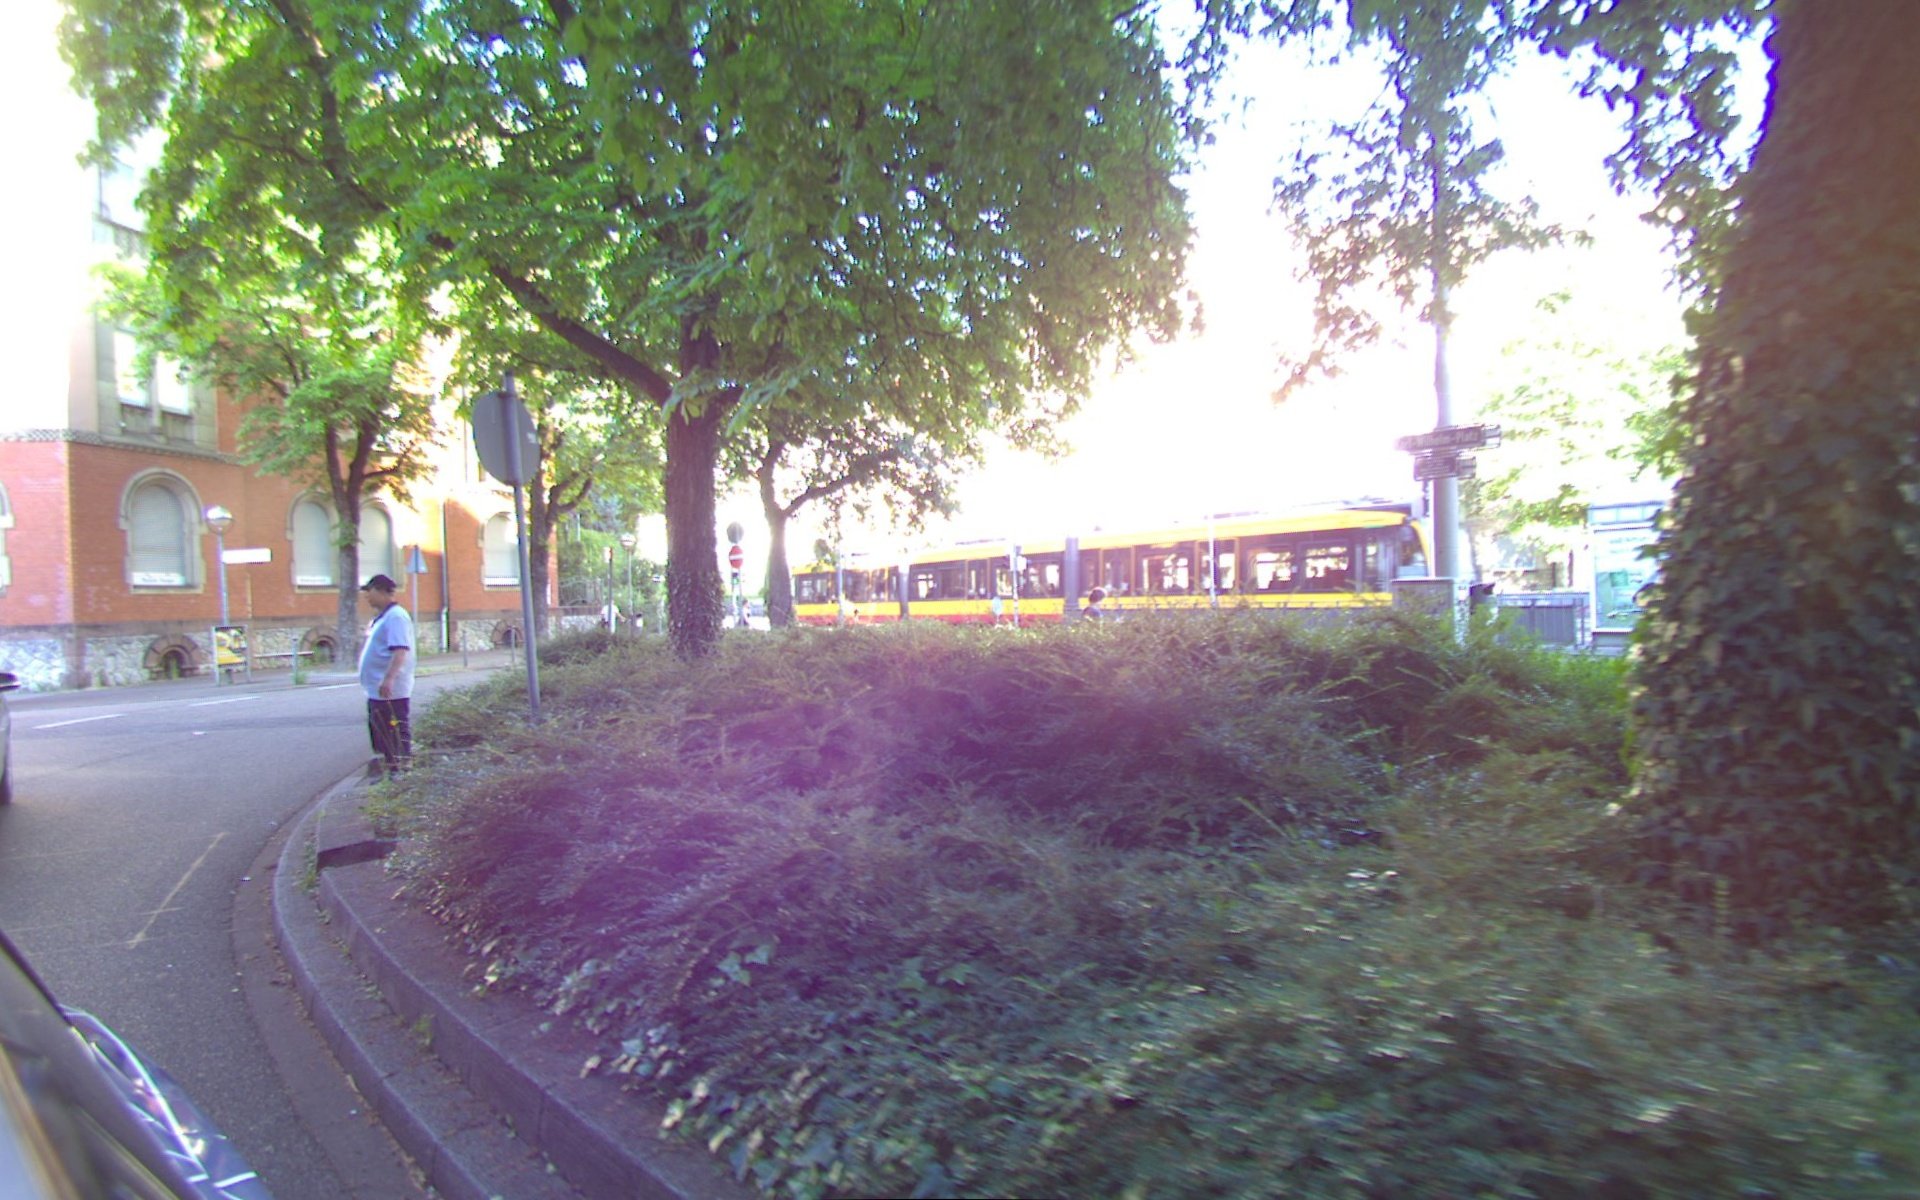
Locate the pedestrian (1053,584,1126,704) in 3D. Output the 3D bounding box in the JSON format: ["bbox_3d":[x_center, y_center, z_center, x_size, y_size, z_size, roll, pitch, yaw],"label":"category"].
[{"bbox_3d":[1.898,0.626,14.760,0.814,1.696,0.892,-2,0,22],"label":"pedestrian"}]

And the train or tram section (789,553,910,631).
[{"bbox_3d":[-5.600,-0.396,50.051,2.924,3.533,7.209,-3,1,-33],"label":"train or tram section"}]

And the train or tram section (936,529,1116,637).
[{"bbox_3d":[2.276,-0.573,37.973,2.885,3.626,7.209,-3,1,-33],"label":"train or tram section"}]

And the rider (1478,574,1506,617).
[{"bbox_3d":[21.450,-0.198,40.827,0.661,1.694,0.822,-2,2,-2],"label":"rider"}]

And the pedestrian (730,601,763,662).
[{"bbox_3d":[-5.898,0.861,27.952,0.841,1.617,0.603,-2,0,-12],"label":"pedestrian"}]

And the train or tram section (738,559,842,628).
[{"bbox_3d":[-9.520,-0.365,56.076,2.924,3.533,7.209,-3,1,-33],"label":"train or tram section"}]

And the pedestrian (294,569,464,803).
[{"bbox_3d":[-4.515,0.636,7.930,0.769,1.696,0.919,-2,0,-2],"label":"pedestrian"}]

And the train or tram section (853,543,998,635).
[{"bbox_3d":[-1.659,-0.471,44.007,2.890,3.617,7.209,-3,1,-33],"label":"train or tram section"}]

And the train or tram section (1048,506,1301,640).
[{"bbox_3d":[6.396,-0.699,31.652,2.873,3.641,7.881,-2,0,-33],"label":"train or tram section"}]

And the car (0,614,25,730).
[{"bbox_3d":[-15.379,1.110,13.245,4.196,1.605,2.003,-2,2,-6],"label":"car"}]

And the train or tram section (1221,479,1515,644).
[{"bbox_3d":[10.181,-0.850,25.929,2.873,3.668,6.364,-2,0,-33],"label":"train or tram section"}]

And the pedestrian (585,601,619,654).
[{"bbox_3d":[-11.489,0.869,32.458,0.846,1.655,0.872,-2,0,-31],"label":"pedestrian"}]

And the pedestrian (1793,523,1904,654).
[{"bbox_3d":[13.558,-0.180,15.451,0.897,1.912,1.023,-2,0,-33],"label":"pedestrian"}]
